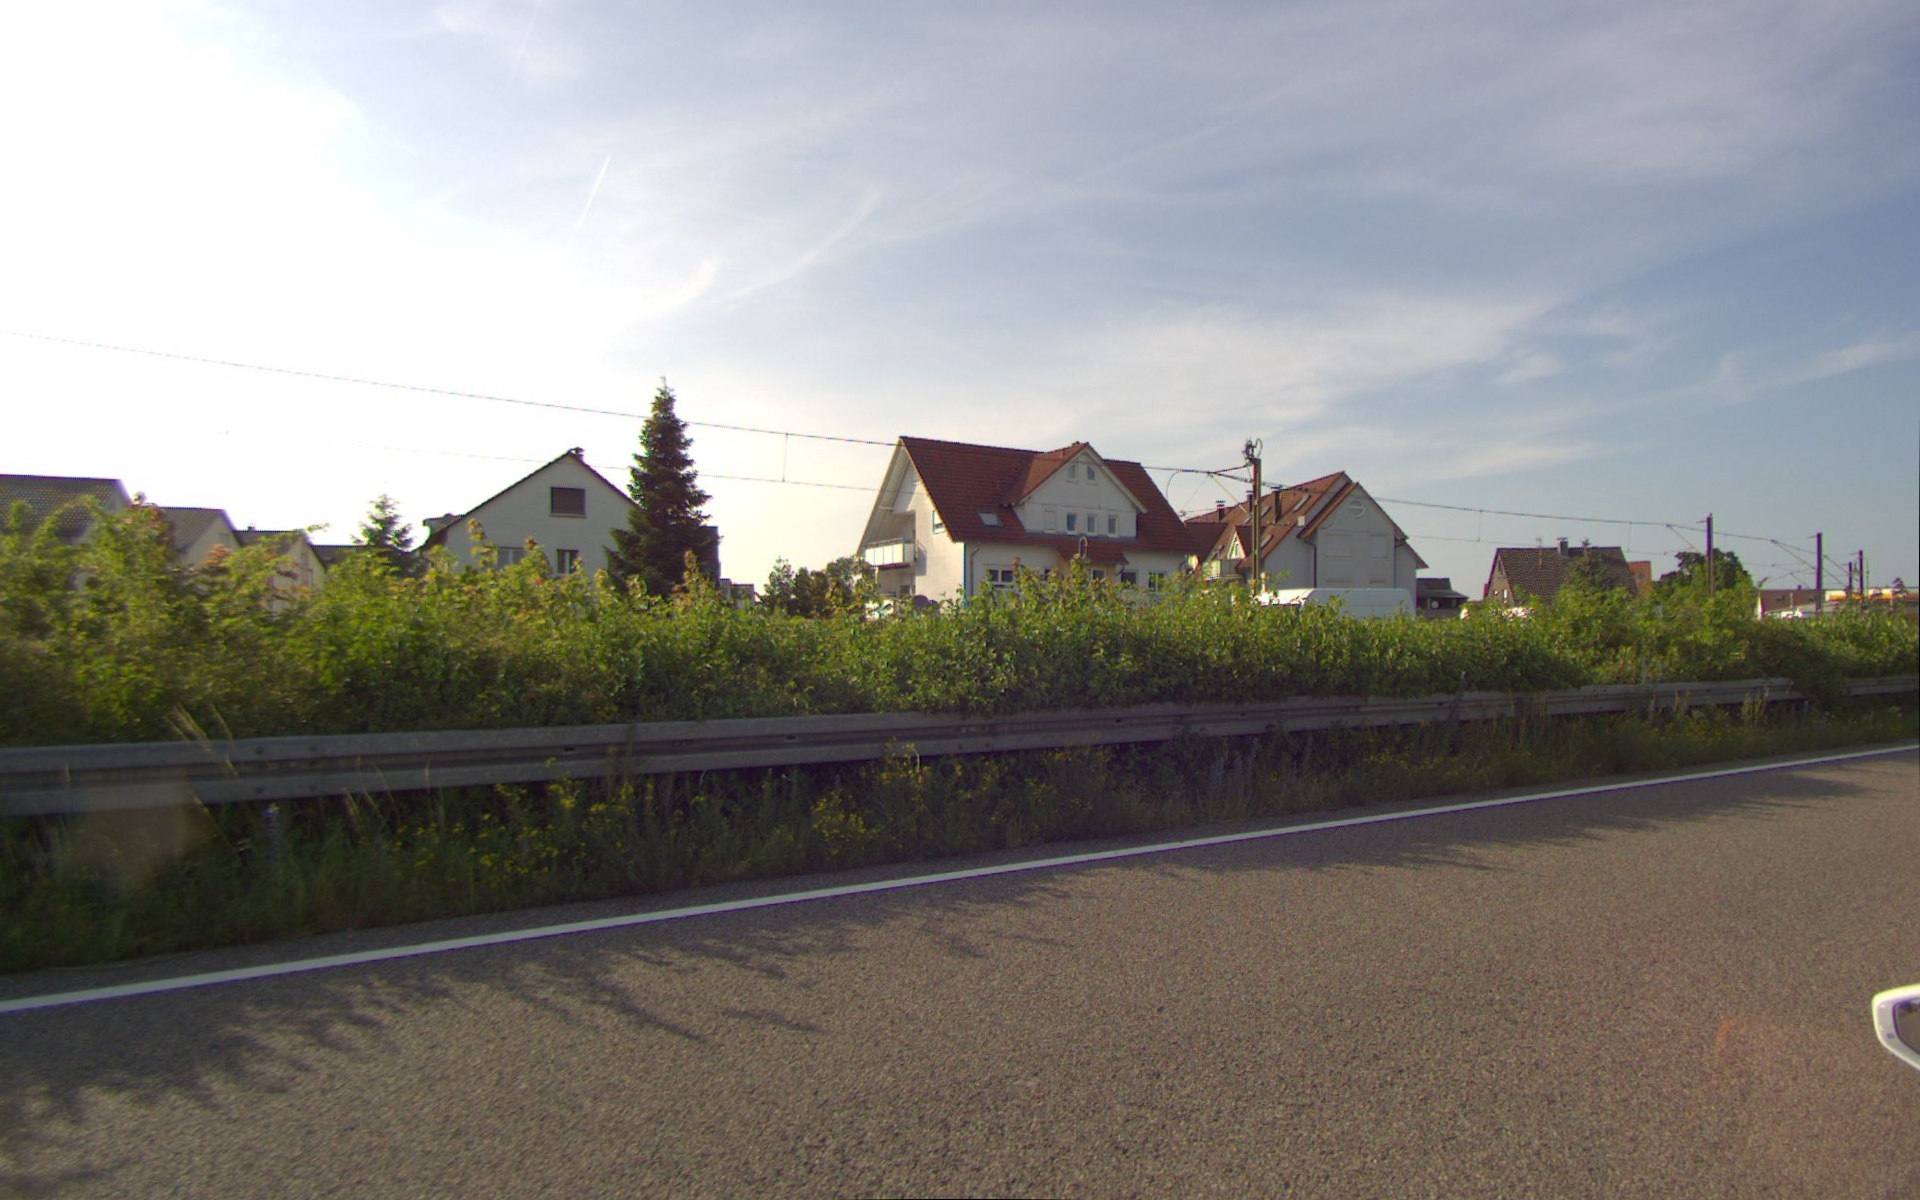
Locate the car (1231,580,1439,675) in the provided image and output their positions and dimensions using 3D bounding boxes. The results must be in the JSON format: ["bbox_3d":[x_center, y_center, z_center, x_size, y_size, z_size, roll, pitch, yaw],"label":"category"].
[{"bbox_3d":[8.867,0.623,23.656,4.815,2.040,1.984,1,0,-31],"label":"car"}]
